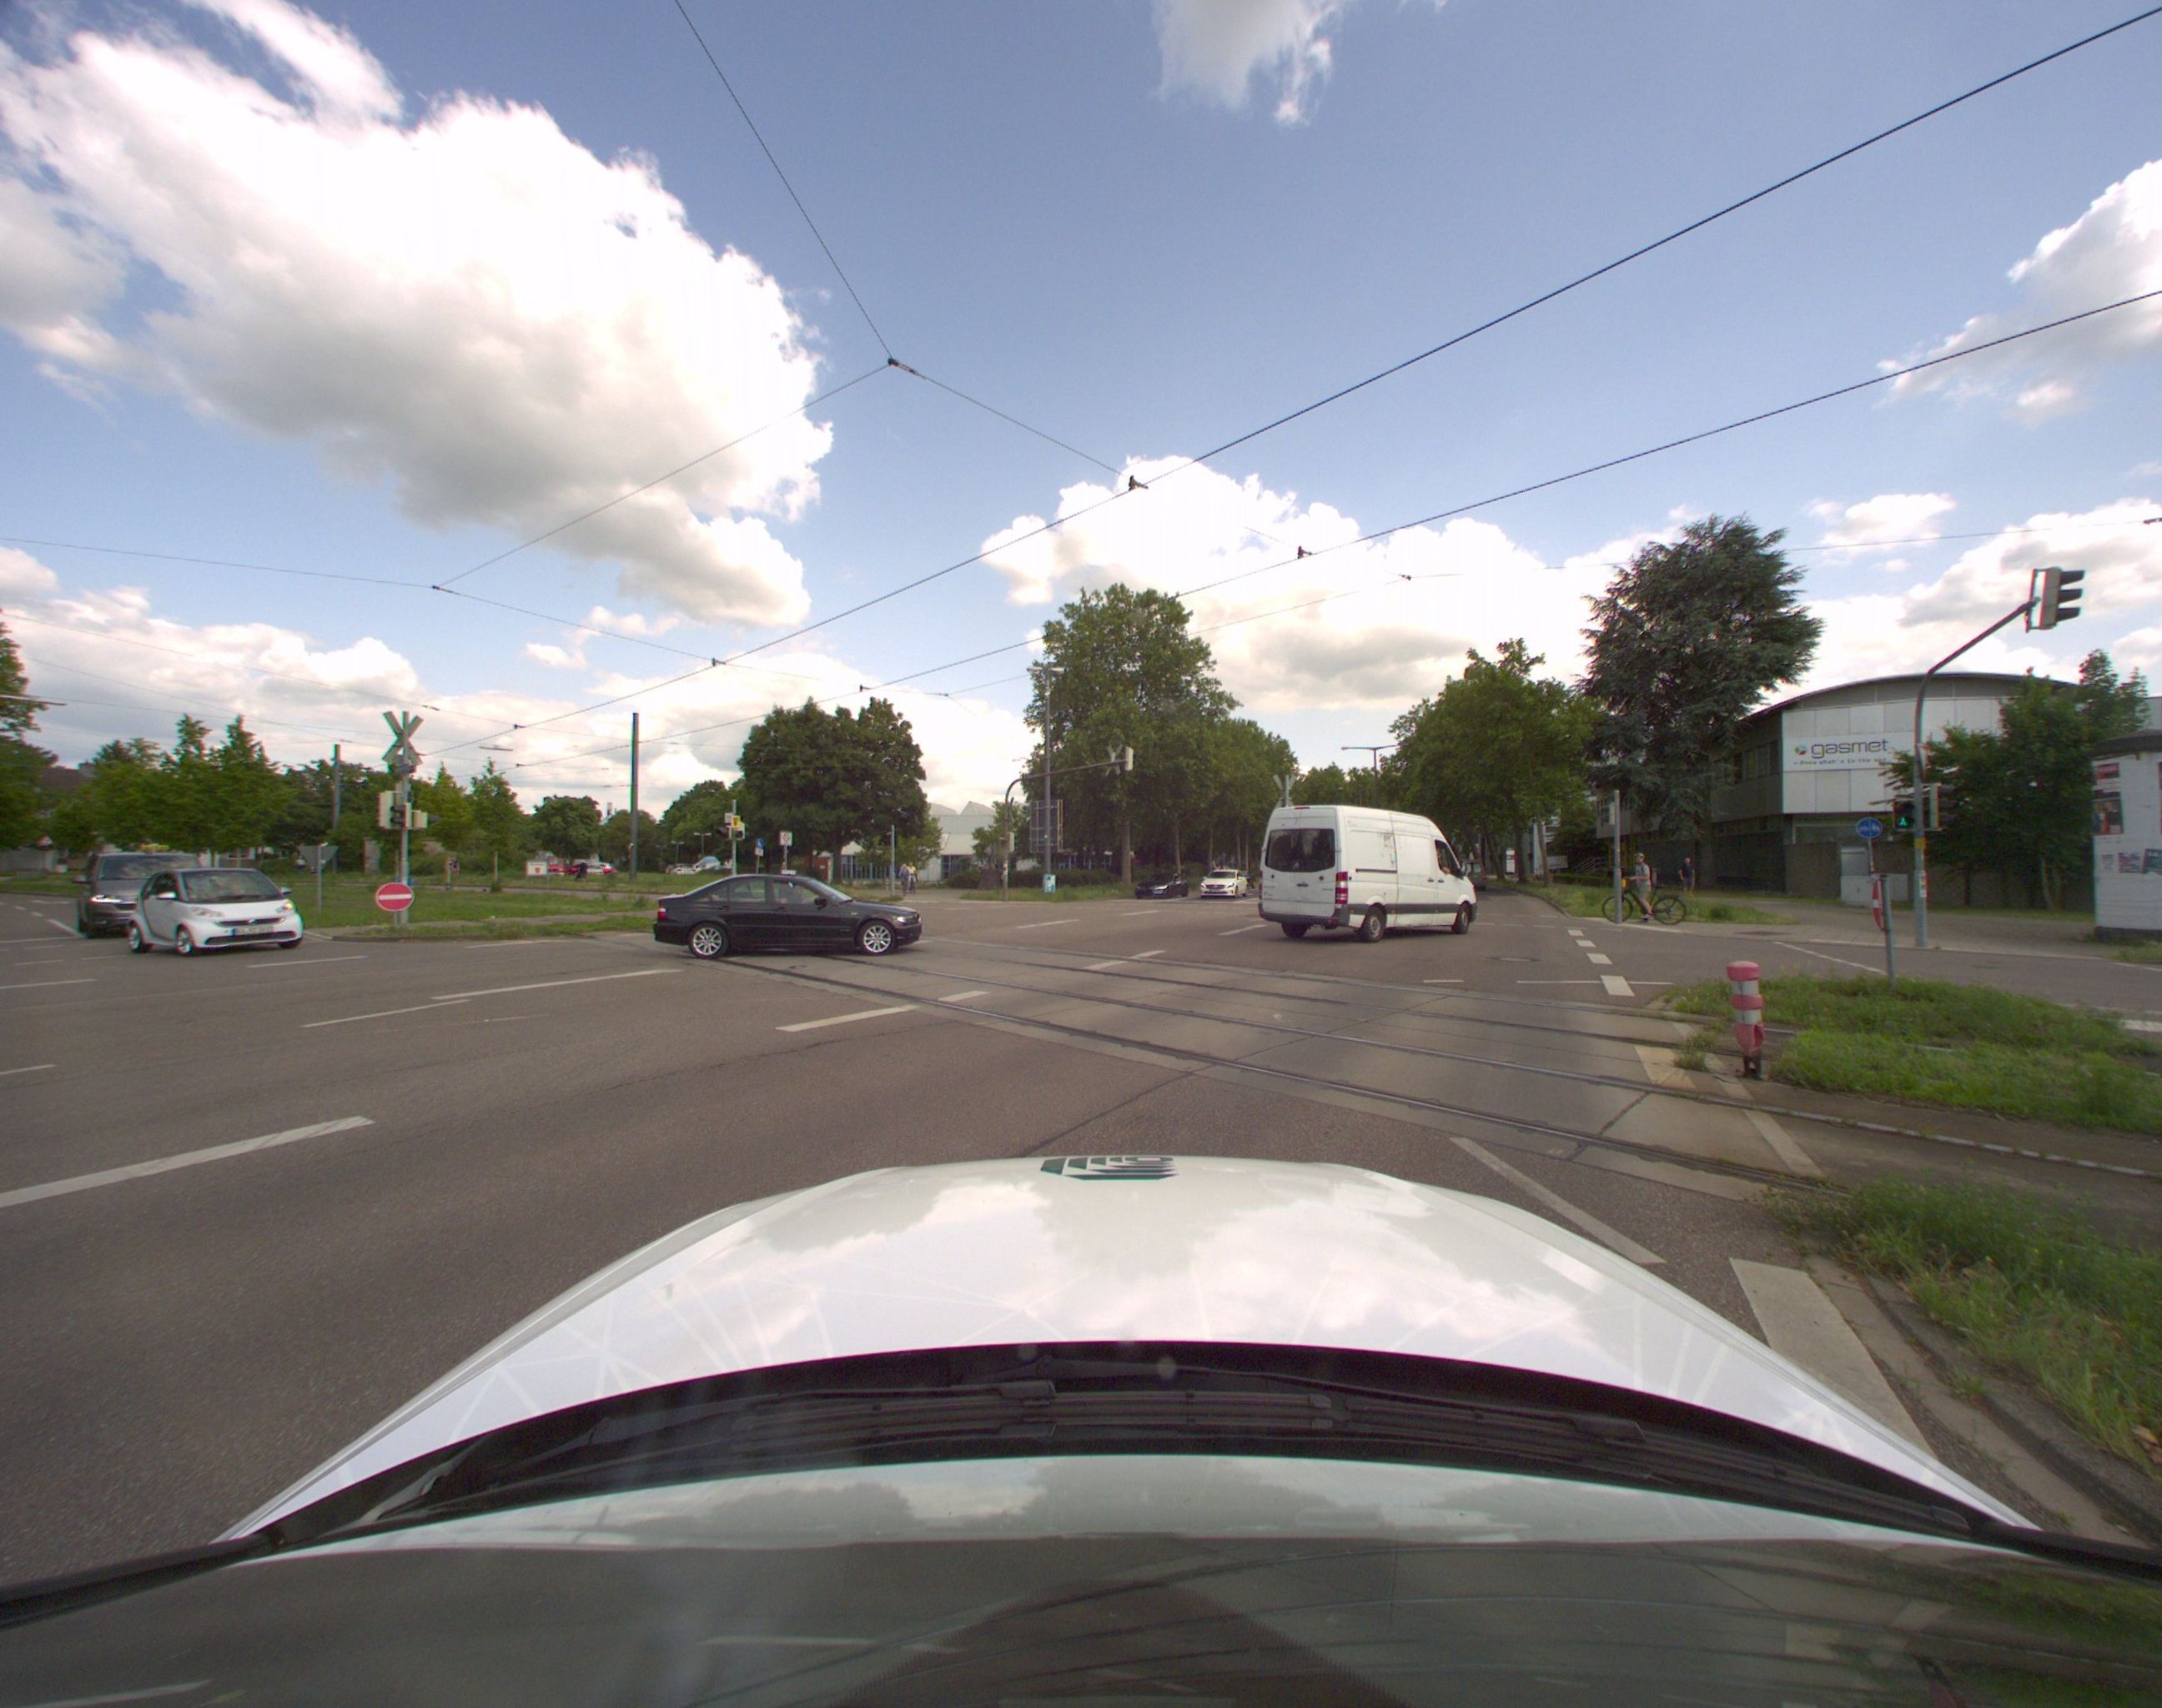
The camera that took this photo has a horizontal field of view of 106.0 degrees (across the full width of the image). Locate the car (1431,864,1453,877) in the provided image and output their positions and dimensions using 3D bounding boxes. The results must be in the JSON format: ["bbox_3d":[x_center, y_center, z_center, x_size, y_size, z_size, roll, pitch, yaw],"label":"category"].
[{"bbox_3d":[46.571,2.132,105.252,1.979,1.574,4.017,-1,1,15],"label":"car"}]

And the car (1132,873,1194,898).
[{"bbox_3d":[4.235,1.572,41.806,1.619,1.192,3.731,0,-1,33],"label":"car"}]

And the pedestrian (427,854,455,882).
[{"bbox_3d":[-45.324,0.983,57.653,1.162,2.014,1.113,0,-1,25],"label":"pedestrian"}]

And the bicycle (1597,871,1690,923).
[{"bbox_3d":[14.328,1.082,20.780,1.927,1.235,0.544,0,1,36],"label":"bicycle"}]

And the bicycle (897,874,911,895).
[{"bbox_3d":[-9.545,1.643,43.962,0.560,1.130,1.377,1,-2,-5],"label":"bicycle"}]

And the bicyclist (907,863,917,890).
[{"bbox_3d":[-9.910,1.319,47.711,0.485,1.554,0.555,1,-2,-6],"label":"bicyclist"}]

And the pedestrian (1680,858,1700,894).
[{"bbox_3d":[26.928,0.977,35.999,0.615,1.569,0.562,-1,1,26],"label":"pedestrian"}]

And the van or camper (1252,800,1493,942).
[{"bbox_3d":[6.302,0.333,17.132,6.067,2.524,1.959,1,-1,-40],"label":"van or camper"}]

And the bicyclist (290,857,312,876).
[{"bbox_3d":[-63.614,1.018,66.426,0.828,1.489,0.966,0,-1,12],"label":"bicyclist"}]

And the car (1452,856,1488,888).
[{"bbox_3d":[23.261,1.051,48.679,1.861,1.800,4.395,0,-1,25],"label":"car"}]

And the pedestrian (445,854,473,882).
[{"bbox_3d":[-44.872,1.016,58.755,1.162,2.014,1.113,0,-1,25],"label":"pedestrian"}]

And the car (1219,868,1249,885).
[{"bbox_3d":[11.181,1.615,59.345,1.621,1.192,3.725,0,-1,18],"label":"car"}]

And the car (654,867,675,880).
[{"bbox_3d":[-52.964,2.479,103.479,2.007,1.640,4.346,0,-1,-32],"label":"car"}]

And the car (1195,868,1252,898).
[{"bbox_3d":[7.233,1.419,41.009,1.809,1.364,4.161,0,-1,25],"label":"car"}]

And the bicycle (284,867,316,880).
[{"bbox_3d":[-63.728,1.548,66.463,1.964,1.040,0.955,0,-1,12],"label":"bicycle"}]

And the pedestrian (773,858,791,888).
[{"bbox_3d":[-16.831,1.086,45.860,0.631,1.644,0.616,-1,1,18],"label":"pedestrian"}]

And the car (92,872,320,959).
[{"bbox_3d":[-16.742,1.075,15.554,4.328,1.431,1.822,0,-1,27],"label":"car"}]

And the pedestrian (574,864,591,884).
[{"bbox_3d":[-33.204,1.326,54.252,0.742,1.354,0.655,-1,1,33],"label":"pedestrian"}]

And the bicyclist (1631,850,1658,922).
[{"bbox_3d":[14.355,0.798,20.752,0.538,1.809,0.544,-1,1,36],"label":"bicyclist"}]

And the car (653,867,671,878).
[{"bbox_3d":[-62.623,2.755,121.687,2.007,1.640,4.346,0,-1,-32],"label":"car"}]

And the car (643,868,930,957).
[{"bbox_3d":[-4.989,0.986,14.397,4.452,1.431,1.806,0,-2,-8],"label":"car"}]

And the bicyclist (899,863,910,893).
[{"bbox_3d":[-9.549,1.298,43.982,0.485,1.554,0.555,1,-2,-5],"label":"bicyclist"}]

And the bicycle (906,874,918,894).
[{"bbox_3d":[-9.899,1.725,47.739,0.560,1.130,1.377,0,-1,-5],"label":"bicycle"}]

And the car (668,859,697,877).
[{"bbox_3d":[-37.285,1.322,76.210,2.007,1.640,4.346,0,-1,-32],"label":"car"}]

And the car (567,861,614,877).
[{"bbox_3d":[-49.258,1.468,81.842,4.014,1.530,1.980,0,-1,-32],"label":"car"}]
